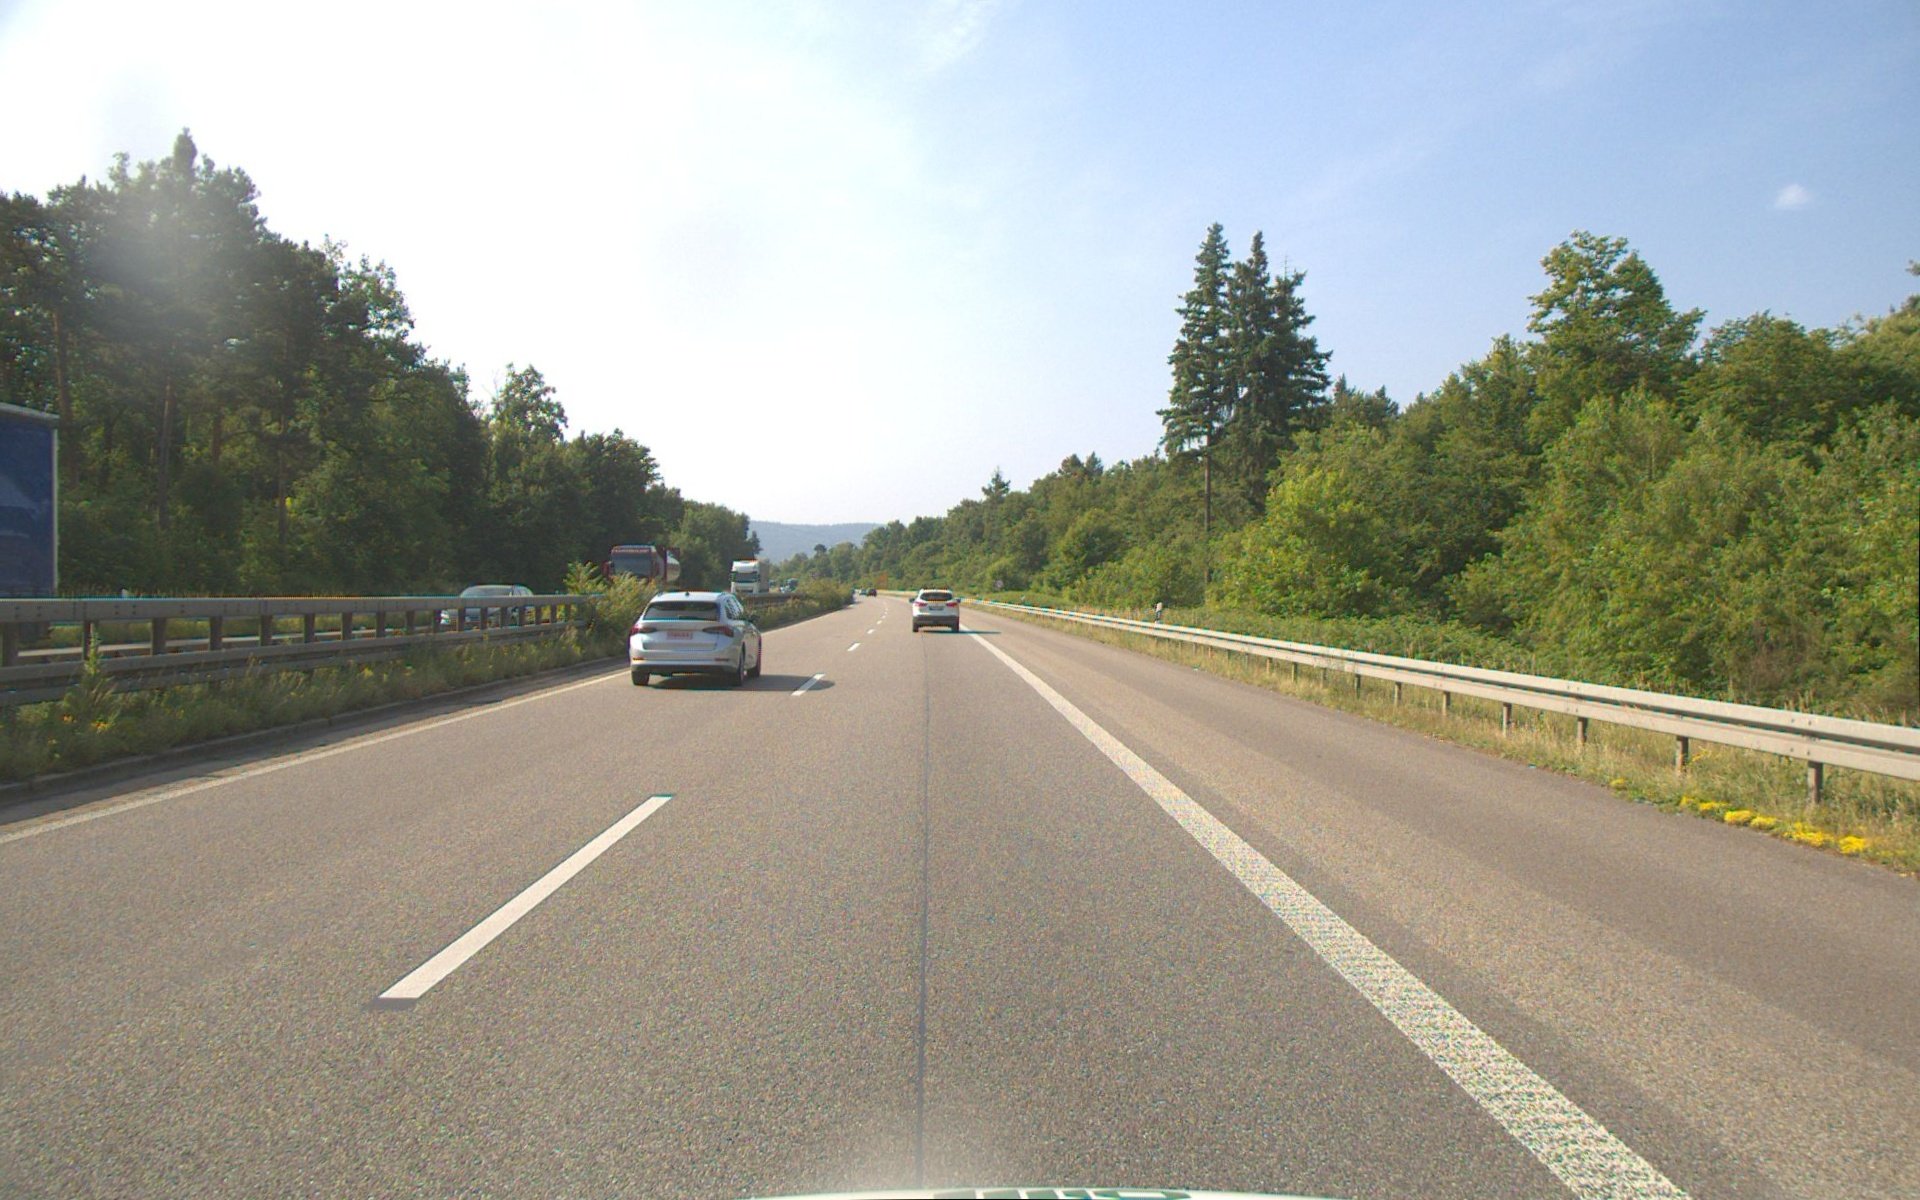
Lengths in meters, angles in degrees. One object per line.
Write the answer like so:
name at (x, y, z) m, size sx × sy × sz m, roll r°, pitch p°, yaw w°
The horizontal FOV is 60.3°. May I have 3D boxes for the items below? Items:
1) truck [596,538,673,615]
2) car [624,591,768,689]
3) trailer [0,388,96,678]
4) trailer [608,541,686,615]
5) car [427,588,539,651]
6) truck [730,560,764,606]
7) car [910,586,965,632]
truck at (-18.079, -1.240, 92.145) m, size 3.201 × 4.110 × 6.230 m, roll 1°, pitch 0°, yaw -2°
car at (-4.281, 0.585, 27.553) m, size 1.756 × 1.463 × 5.276 m, roll 0°, pitch 0°, yaw -2°
trailer at (-15.364, -0.961, 20.587) m, size 2.637 × 4.274 × 13.076 m, roll 0°, pitch 0°, yaw -1°
trailer at (-18.288, -1.209, 97.214) m, size 3.229 × 4.110 × 8.369 m, roll 1°, pitch 0°, yaw -3°
car at (-12.067, 0.462, 42.109) m, size 1.670 × 1.475 × 4.580 m, roll 1°, pitch 0°, yaw -3°
truck at (-20.280, -1.631, 157.823) m, size 2.781 × 4.269 × 5.543 m, roll 0°, pitch 0°, yaw -3°
car at (-0.891, 0.316, 63.257) m, size 1.837 × 1.614 × 3.997 m, roll 2°, pitch 1°, yaw -4°
